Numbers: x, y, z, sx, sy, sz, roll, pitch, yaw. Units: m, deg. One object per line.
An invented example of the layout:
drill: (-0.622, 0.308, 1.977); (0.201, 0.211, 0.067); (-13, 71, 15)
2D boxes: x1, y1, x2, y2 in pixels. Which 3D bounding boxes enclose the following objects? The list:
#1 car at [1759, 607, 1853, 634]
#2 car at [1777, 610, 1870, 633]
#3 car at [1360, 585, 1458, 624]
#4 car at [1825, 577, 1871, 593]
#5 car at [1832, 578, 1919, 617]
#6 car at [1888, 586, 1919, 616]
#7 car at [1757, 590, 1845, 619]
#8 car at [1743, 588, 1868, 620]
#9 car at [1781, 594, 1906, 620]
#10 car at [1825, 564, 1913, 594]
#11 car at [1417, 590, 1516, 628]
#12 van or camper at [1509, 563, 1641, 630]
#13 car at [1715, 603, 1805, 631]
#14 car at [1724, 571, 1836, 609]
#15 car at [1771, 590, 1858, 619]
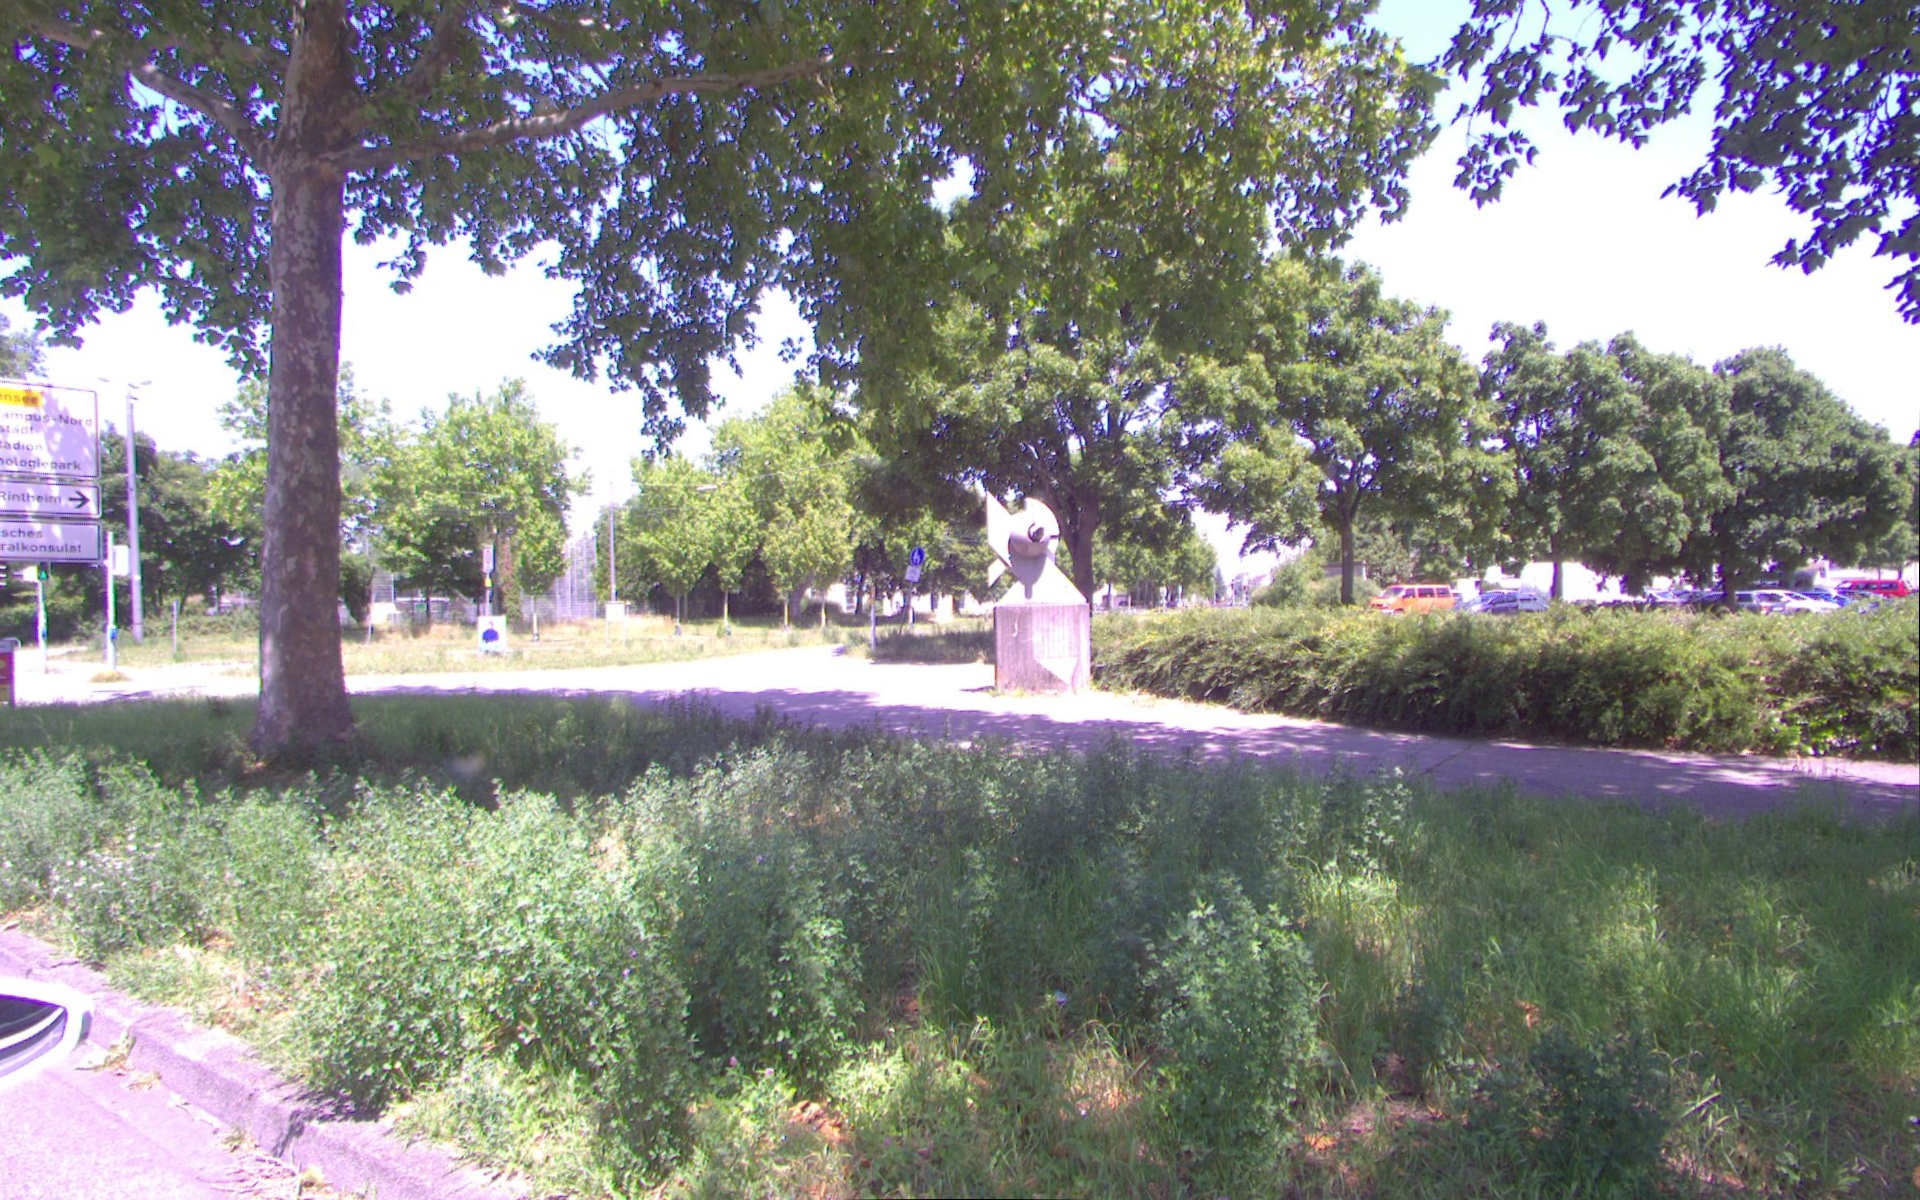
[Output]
car: (32.402, 0.777, 38.407); (0.938, 1.000, 2.590); (-1, 0, -25)
car: (33.550, 0.815, 38.941); (0.938, 0.852, 2.590); (-1, 0, -25)
car: (23.845, 0.225, 53.233); (4.582, 2.029, 2.069); (0, 0, -19)
car: (92.713, -1.554, 104.598); (3.309, 1.639, 1.439); (-1, 0, 19)
car: (57.195, -0.087, 62.273); (1.936, 2.037, 3.991); (2, -5, -23)
car: (44.651, 0.041, 45.410); (1.690, 1.384, 3.414); (-1, 0, -25)
car: (34.367, 0.174, 40.986); (0.991, 1.141, 2.590); (-1, 0, -25)
car: (34.343, 0.134, 40.778); (1.595, 1.242, 3.559); (0, 1, -25)
car: (36.717, 0.294, 41.703); (1.655, 1.048, 3.553); (-1, 0, -25)
car: (103.965, -2.349, 114.601); (3.155, 3.224, 7.143); (-1, 0, -41)
car: (23.930, 0.409, 47.324); (4.000, 1.741, 1.952); (-1, 0, -18)
van or camper: (27.006, -0.163, 43.992); (5.039, 2.787, 2.199); (-1, 0, -18)
car: (30.781, 0.645, 38.572); (0.938, 1.050, 2.590); (-1, 0, -25)
car: (46.411, -0.550, 56.797); (2.209, 2.040, 4.409); (-1, 0, -22)
car: (35.311, 0.193, 41.435); (0.938, 1.141, 2.590); (-1, 0, -25)
